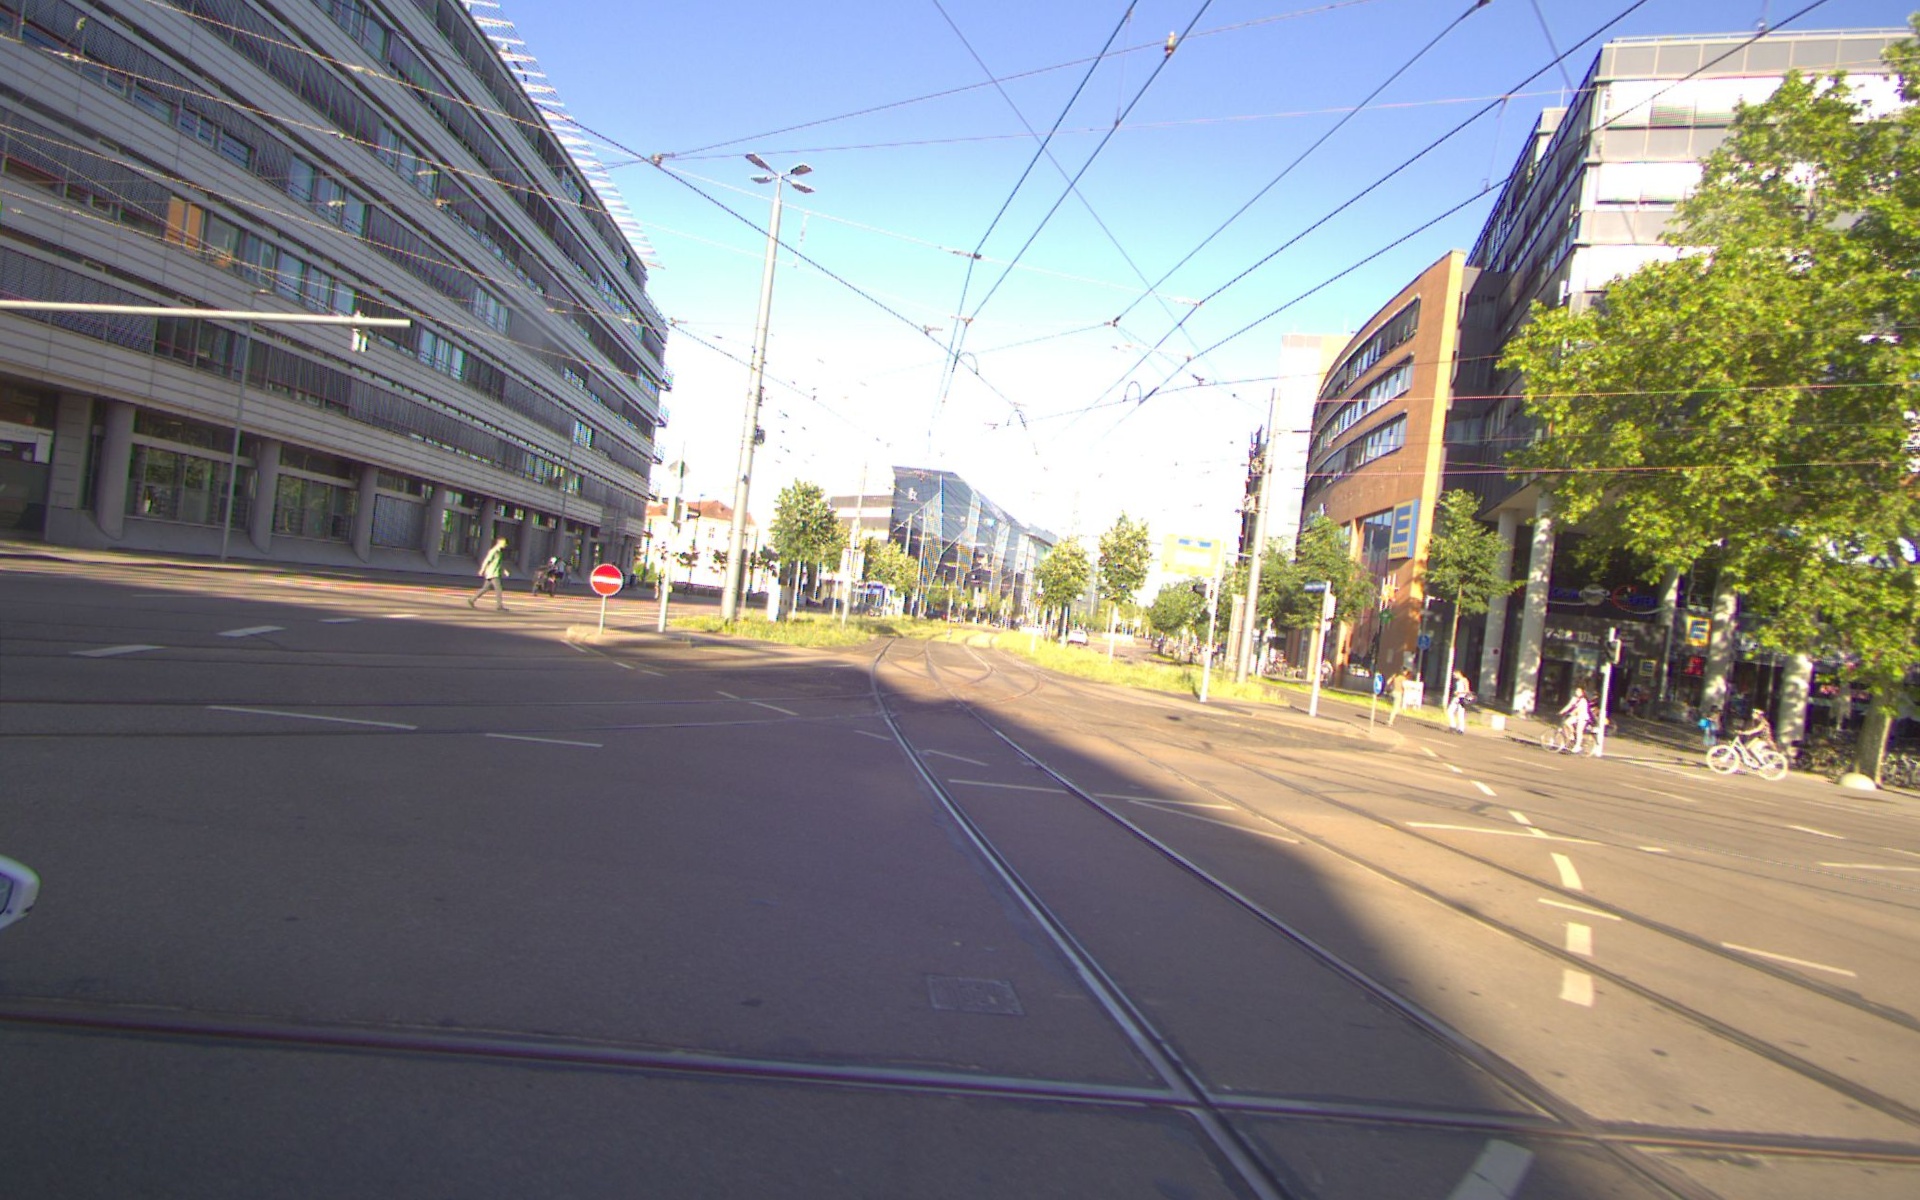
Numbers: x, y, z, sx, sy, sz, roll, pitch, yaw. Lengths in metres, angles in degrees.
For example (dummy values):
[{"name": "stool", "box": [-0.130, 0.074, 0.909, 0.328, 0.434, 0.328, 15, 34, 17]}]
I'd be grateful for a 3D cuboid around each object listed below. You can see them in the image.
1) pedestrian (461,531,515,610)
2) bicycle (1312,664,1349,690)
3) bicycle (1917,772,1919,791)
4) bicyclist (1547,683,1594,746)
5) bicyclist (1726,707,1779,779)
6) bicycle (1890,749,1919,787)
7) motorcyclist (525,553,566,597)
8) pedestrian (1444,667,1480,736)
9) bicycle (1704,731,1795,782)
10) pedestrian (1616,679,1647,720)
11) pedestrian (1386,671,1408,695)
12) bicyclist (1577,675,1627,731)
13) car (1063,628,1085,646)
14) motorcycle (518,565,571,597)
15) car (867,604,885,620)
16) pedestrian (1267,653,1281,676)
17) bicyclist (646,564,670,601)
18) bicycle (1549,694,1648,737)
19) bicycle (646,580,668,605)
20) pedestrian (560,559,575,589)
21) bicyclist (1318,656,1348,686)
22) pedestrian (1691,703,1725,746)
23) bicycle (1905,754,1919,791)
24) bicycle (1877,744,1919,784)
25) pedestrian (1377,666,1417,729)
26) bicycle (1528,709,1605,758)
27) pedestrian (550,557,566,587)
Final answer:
[{"name": "pedestrian", "box": [-11.614, -0.712, 24.764, 0.869, 1.846, 0.676, 6, 0, -5]}, {"name": "bicycle", "box": [20.281, 4.190, 55.125, 1.024, 1.147, 3.181, 7, 0, 7]}, {"name": "bicycle", "box": [28.068, 5.008, 28.314, 1.678, 0.998, 0.390, 7, 1, 3]}, {"name": "bicyclist", "box": [16.144, 3.024, 26.597, 0.731, 1.521, 0.570, 7, 0, 1]}, {"name": "bicyclist", "box": [20.559, 3.706, 26.114, 0.731, 1.715, 0.570, 7, 0, 1]}, {"name": "bicycle", "box": [28.133, 4.964, 29.224, 1.678, 0.998, 0.390, 7, 1, 3]}, {"name": "motorcyclist", "box": [-18.338, -1.088, 44.510, 1.003, 1.752, 1.460, 7, 0, 1]}, {"name": "pedestrian", "box": [14.281, 2.884, 28.635, 0.690, 1.859, 0.515, 8, 0, 25]}, {"name": "bicycle", "box": [20.475, 4.050, 26.104, 1.824, 1.034, 0.516, 7, 0, 1]}, {"name": "pedestrian", "box": [32.745, 4.840, 49.066, 0.834, 1.874, 0.810, 10, 0, 22]}, {"name": "pedestrian", "box": [22.433, 4.267, 51.660, 0.771, 1.070, 0.814, 7, 1, 12]}, {"name": "bicyclist", "box": [24.676, 3.936, 38.700, 1.207, 1.955, 0.835, 7, 1, 16]}, {"name": "car", "box": [11.685, 3.781, 103.150, 1.872, 1.525, 4.002, 8, -1, 4]}, {"name": "motorcycle", "box": [-18.360, -0.816, 44.538, 0.968, 1.247, 2.943, 7, 0, 1]}, {"name": "car", "box": [-10.431, 1.478, 125.045, 1.741, 1.745, 3.905, 8, 0, -1]}, {"name": "pedestrian", "box": [23.490, 4.792, 75.185, 0.694, 1.589, 0.623, 7, 1, 6]}, {"name": "bicyclist", "box": [-14.620, -0.837, 48.736, 0.753, 1.687, 0.992, 7, 1, -8]}, {"name": "bicycle", "box": [24.540, 4.433, 38.724, 2.993, 1.127, 0.835, 8, 1, 16]}, {"name": "bicycle", "box": [-14.686, -0.347, 48.778, 0.633, 1.121, 1.682, 7, 0, -8]}, {"name": "pedestrian", "box": [-23.770, -1.593, 60.916, 0.540, 1.755, 0.641, 7, 1, -4]}, {"name": "bicyclist", "box": [20.392, 3.874, 55.039, 1.024, 1.398, 1.564, 7, 0, 7]}, {"name": "pedestrian", "box": [29.070, 4.828, 39.097, 0.764, 1.546, 0.564, 7, 1, 21]}, {"name": "bicycle", "box": [28.112, 5.023, 28.744, 1.678, 0.998, 0.390, 7, 1, 3]}, {"name": "bicycle", "box": [28.177, 4.898, 29.701, 1.678, 0.998, 0.390, 7, 1, 3]}, {"name": "pedestrian", "box": [11.944, 2.664, 27.498, 0.648, 1.602, 0.488, 7, 1, -7]}, {"name": "bicycle", "box": [16.042, 3.523, 26.627, 1.602, 1.034, 0.516, 7, 0, 0]}, {"name": "pedestrian", "box": [-24.336, -1.680, 60.881, 0.540, 1.755, 0.641, 7, 1, -4]}]
